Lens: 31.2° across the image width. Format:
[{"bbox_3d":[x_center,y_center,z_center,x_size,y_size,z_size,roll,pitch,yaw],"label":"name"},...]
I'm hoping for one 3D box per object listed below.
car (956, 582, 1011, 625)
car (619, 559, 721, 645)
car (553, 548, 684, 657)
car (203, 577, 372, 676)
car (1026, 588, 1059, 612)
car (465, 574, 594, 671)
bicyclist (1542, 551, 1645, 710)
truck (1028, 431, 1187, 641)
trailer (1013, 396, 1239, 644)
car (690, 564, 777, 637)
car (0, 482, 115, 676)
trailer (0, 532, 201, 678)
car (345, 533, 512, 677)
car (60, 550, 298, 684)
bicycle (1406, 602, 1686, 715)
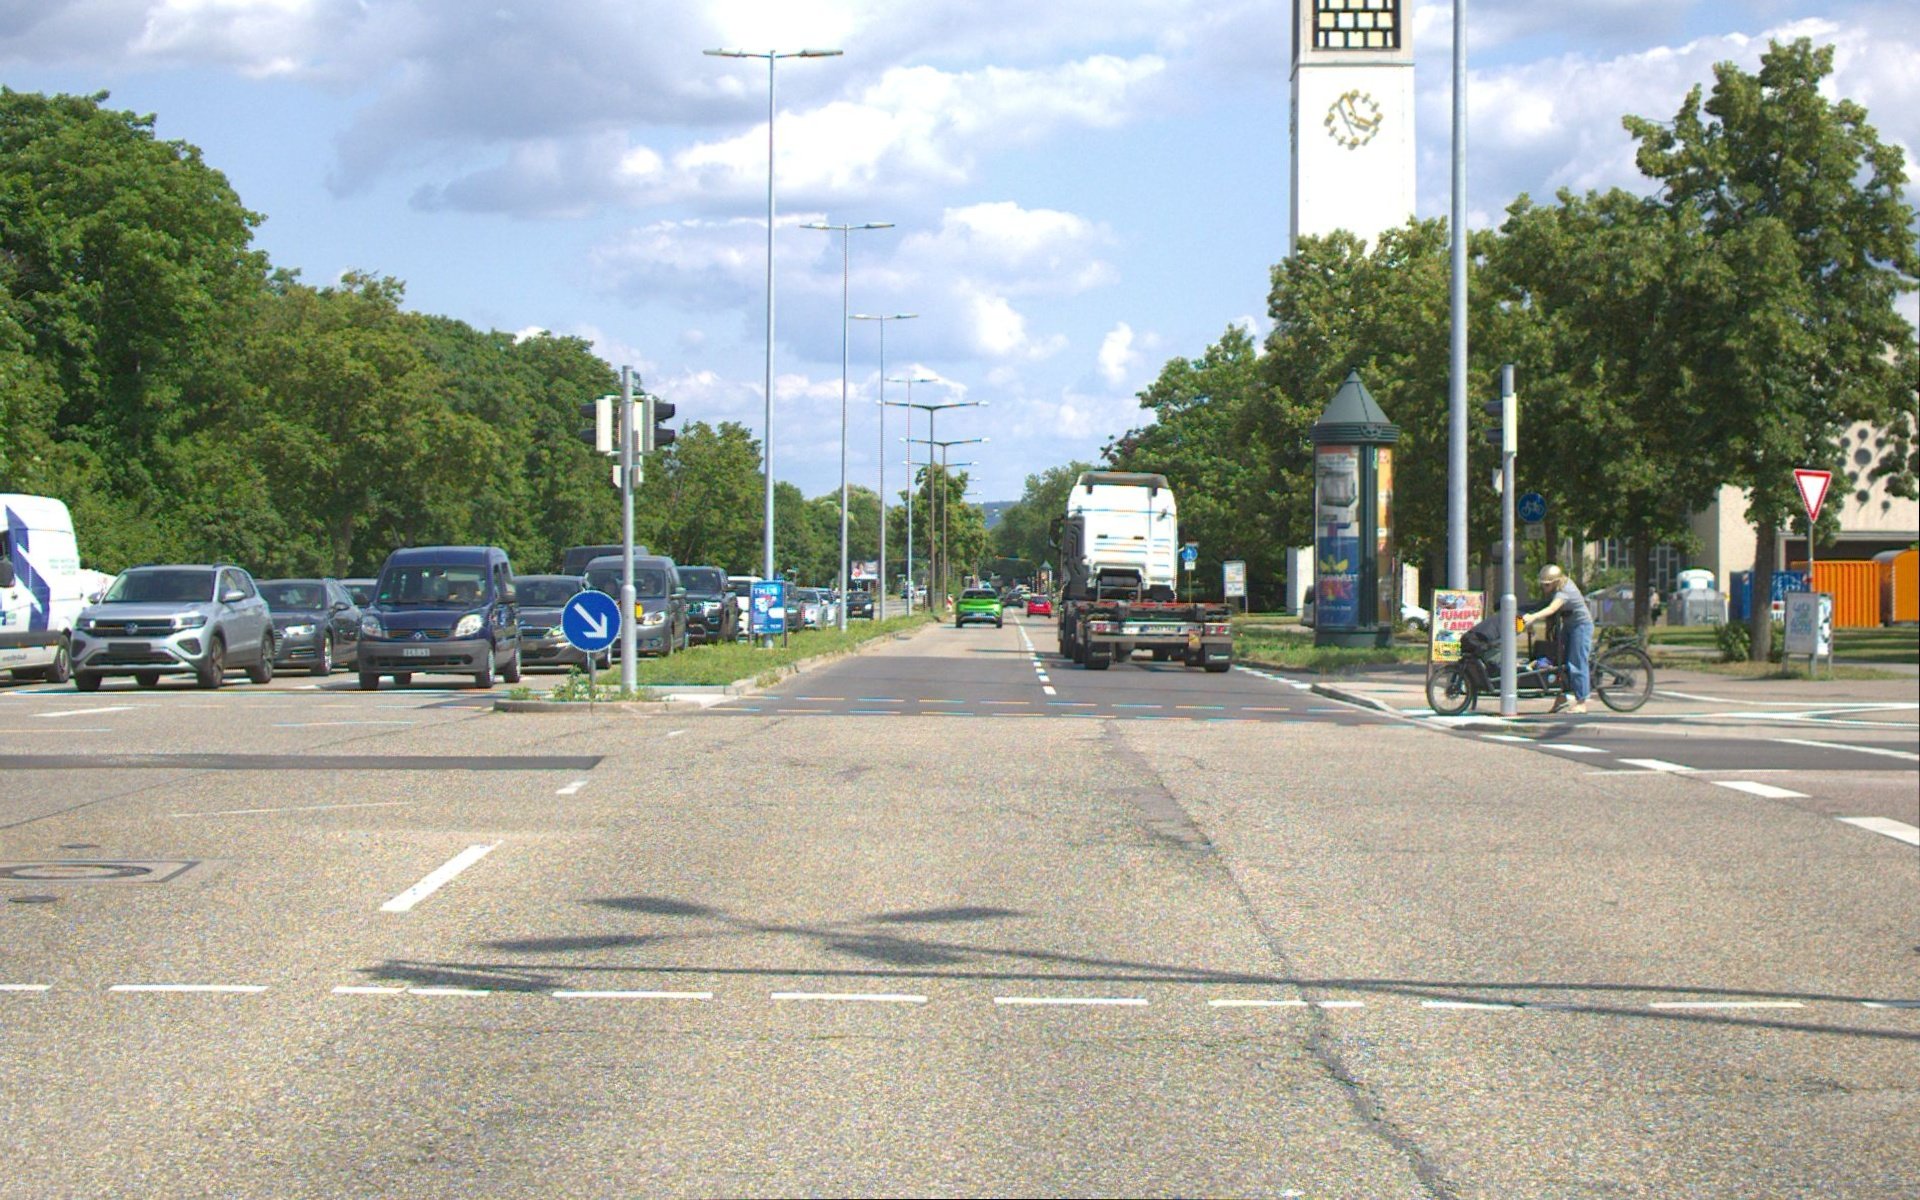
[{"bbox_3d":[0.889,0.110,132.025,1.993,1.547,4.000,2,0,-1],"label":"car"},{"bbox_3d":[-5.966,0.031,71.104,1.734,1.654,4.231,2,0,-1],"label":"car"},{"bbox_3d":[-5.718,0.011,57.990,1.734,1.654,4.231,2,1,0],"label":"car"},{"bbox_3d":[-9.633,0.361,49.462,1.763,1.347,3.519,1,0,-1],"label":"car"},{"bbox_3d":[5.485,0.003,229.382,1.993,1.547,4.000,2,0,-1],"label":"car"},{"bbox_3d":[-6.279,0.317,50.404,1.568,1.311,3.432,2,0,-3],"label":"car"},{"bbox_3d":[6.523,0.303,35.421,0.698,1.610,0.797,0,1,-24],"label":"bicyclist"},{"bbox_3d":[3.082,-1.194,69.596,2.960,3.957,8.636,1,0,4],"label":"truck"},{"bbox_3d":[3.076,-1.285,61.902,3.621,3.998,11.317,1,0,4],"label":"trailer"},{"bbox_3d":[-5.456,0.016,83.182,1.734,1.654,4.231,2,0,0],"label":"car"},{"bbox_3d":[-13.159,-0.305,45.283,2.174,2.463,5.966,2,0,4],"label":"car"},{"bbox_3d":[-13.052,0.056,50.918,2.124,2.007,5.161,2,0,3],"label":"trailer"},{"bbox_3d":[-6.588,0.048,42.929,1.734,1.654,4.232,2,0,-5],"label":"car"},{"bbox_3d":[-9.823,0.203,43.573,1.735,1.538,4.308,2,0,4],"label":"car"},{"bbox_3d":[6.009,0.589,35.206,2.832,1.108,0.797,0,1,-24],"label":"bicycle"}]
